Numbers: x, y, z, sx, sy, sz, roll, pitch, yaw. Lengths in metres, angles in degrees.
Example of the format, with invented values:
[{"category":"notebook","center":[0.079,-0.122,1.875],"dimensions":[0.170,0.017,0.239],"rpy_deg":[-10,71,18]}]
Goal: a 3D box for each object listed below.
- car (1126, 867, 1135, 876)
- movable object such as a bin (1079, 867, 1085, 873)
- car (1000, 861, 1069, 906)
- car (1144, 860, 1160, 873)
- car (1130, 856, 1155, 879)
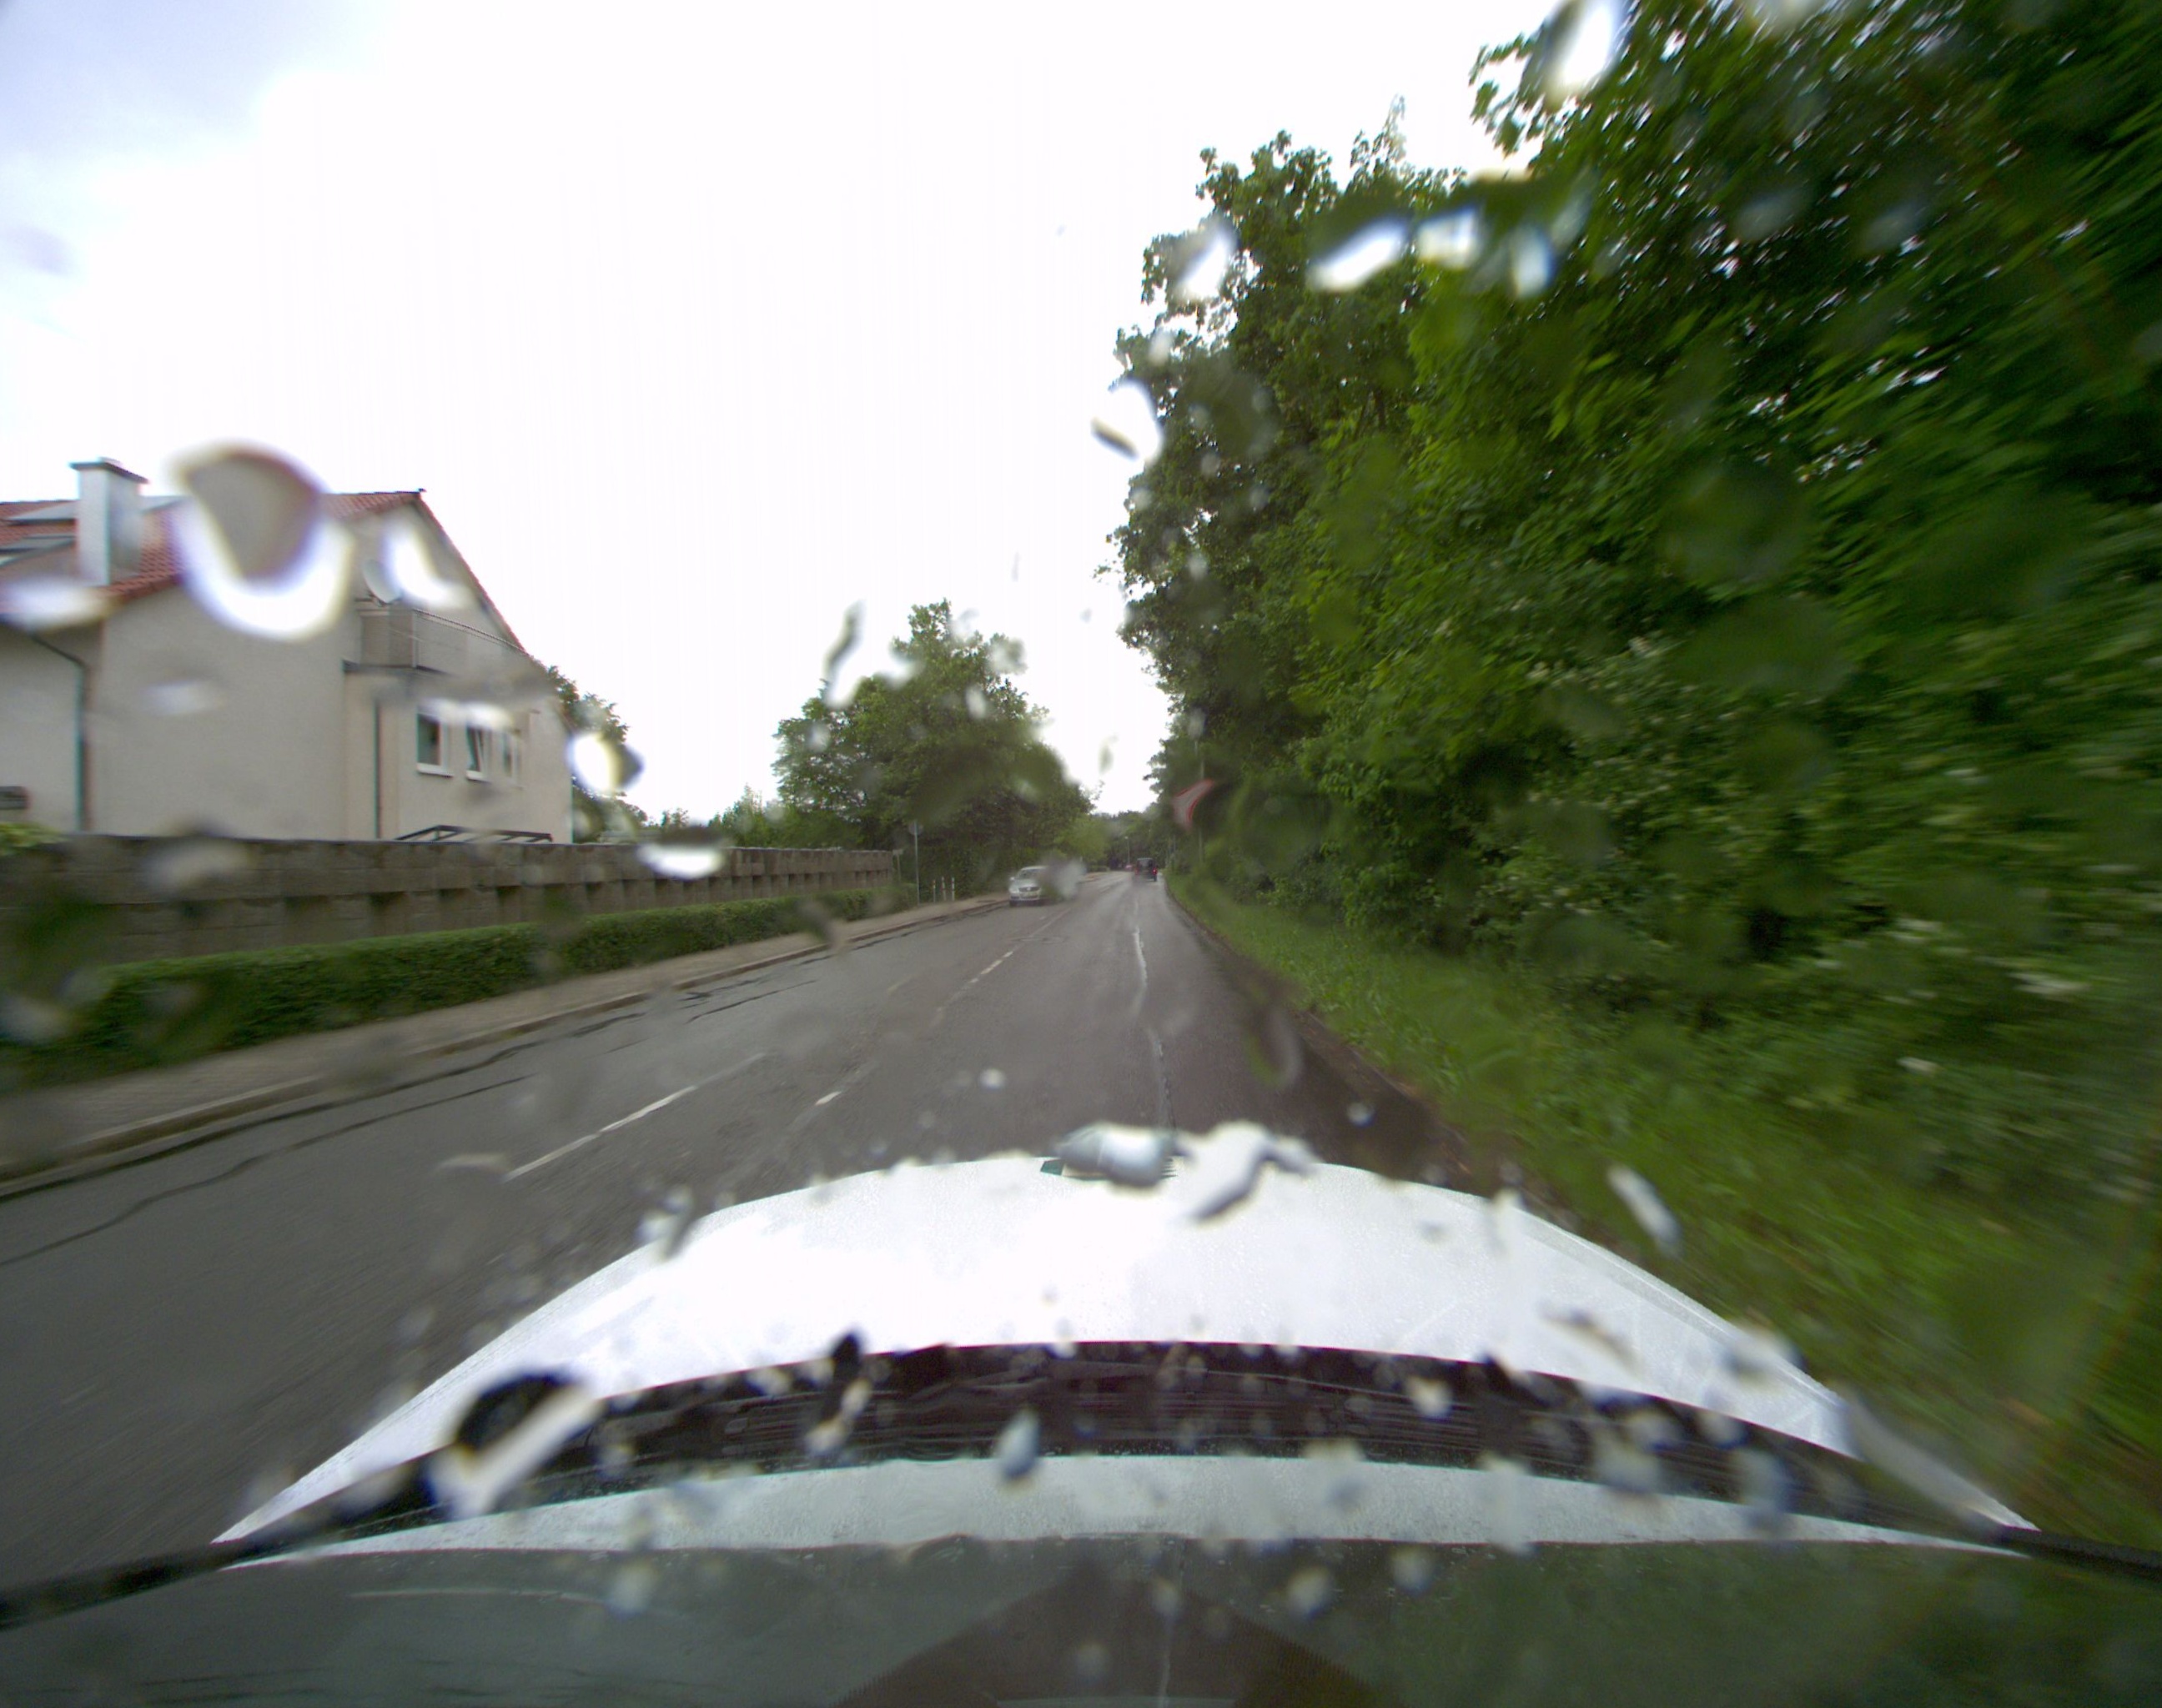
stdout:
[{"category":"car","center":[11.140,3.928,183.512],"dimensions":[1.985,2.014,4.004],"rpy_deg":[0,0,3]},{"category":"movable object such as a bin","center":[0.127,2.610,133.033],"dimensions":[0.669,1.026,0.827],"rpy_deg":[-4,-1,-26]},{"category":"car","center":[-1.672,1.065,31.098],"dimensions":[1.985,1.420,4.490],"rpy_deg":[-4,0,4]},{"category":"car","center":[10.559,1.916,121.558],"dimensions":[1.945,1.749,3.998],"rpy_deg":[-3,0,-1]},{"category":"car","center":[4.965,1.064,65.929],"dimensions":[1.985,1.793,4.005],"rpy_deg":[0,1,4]}]
